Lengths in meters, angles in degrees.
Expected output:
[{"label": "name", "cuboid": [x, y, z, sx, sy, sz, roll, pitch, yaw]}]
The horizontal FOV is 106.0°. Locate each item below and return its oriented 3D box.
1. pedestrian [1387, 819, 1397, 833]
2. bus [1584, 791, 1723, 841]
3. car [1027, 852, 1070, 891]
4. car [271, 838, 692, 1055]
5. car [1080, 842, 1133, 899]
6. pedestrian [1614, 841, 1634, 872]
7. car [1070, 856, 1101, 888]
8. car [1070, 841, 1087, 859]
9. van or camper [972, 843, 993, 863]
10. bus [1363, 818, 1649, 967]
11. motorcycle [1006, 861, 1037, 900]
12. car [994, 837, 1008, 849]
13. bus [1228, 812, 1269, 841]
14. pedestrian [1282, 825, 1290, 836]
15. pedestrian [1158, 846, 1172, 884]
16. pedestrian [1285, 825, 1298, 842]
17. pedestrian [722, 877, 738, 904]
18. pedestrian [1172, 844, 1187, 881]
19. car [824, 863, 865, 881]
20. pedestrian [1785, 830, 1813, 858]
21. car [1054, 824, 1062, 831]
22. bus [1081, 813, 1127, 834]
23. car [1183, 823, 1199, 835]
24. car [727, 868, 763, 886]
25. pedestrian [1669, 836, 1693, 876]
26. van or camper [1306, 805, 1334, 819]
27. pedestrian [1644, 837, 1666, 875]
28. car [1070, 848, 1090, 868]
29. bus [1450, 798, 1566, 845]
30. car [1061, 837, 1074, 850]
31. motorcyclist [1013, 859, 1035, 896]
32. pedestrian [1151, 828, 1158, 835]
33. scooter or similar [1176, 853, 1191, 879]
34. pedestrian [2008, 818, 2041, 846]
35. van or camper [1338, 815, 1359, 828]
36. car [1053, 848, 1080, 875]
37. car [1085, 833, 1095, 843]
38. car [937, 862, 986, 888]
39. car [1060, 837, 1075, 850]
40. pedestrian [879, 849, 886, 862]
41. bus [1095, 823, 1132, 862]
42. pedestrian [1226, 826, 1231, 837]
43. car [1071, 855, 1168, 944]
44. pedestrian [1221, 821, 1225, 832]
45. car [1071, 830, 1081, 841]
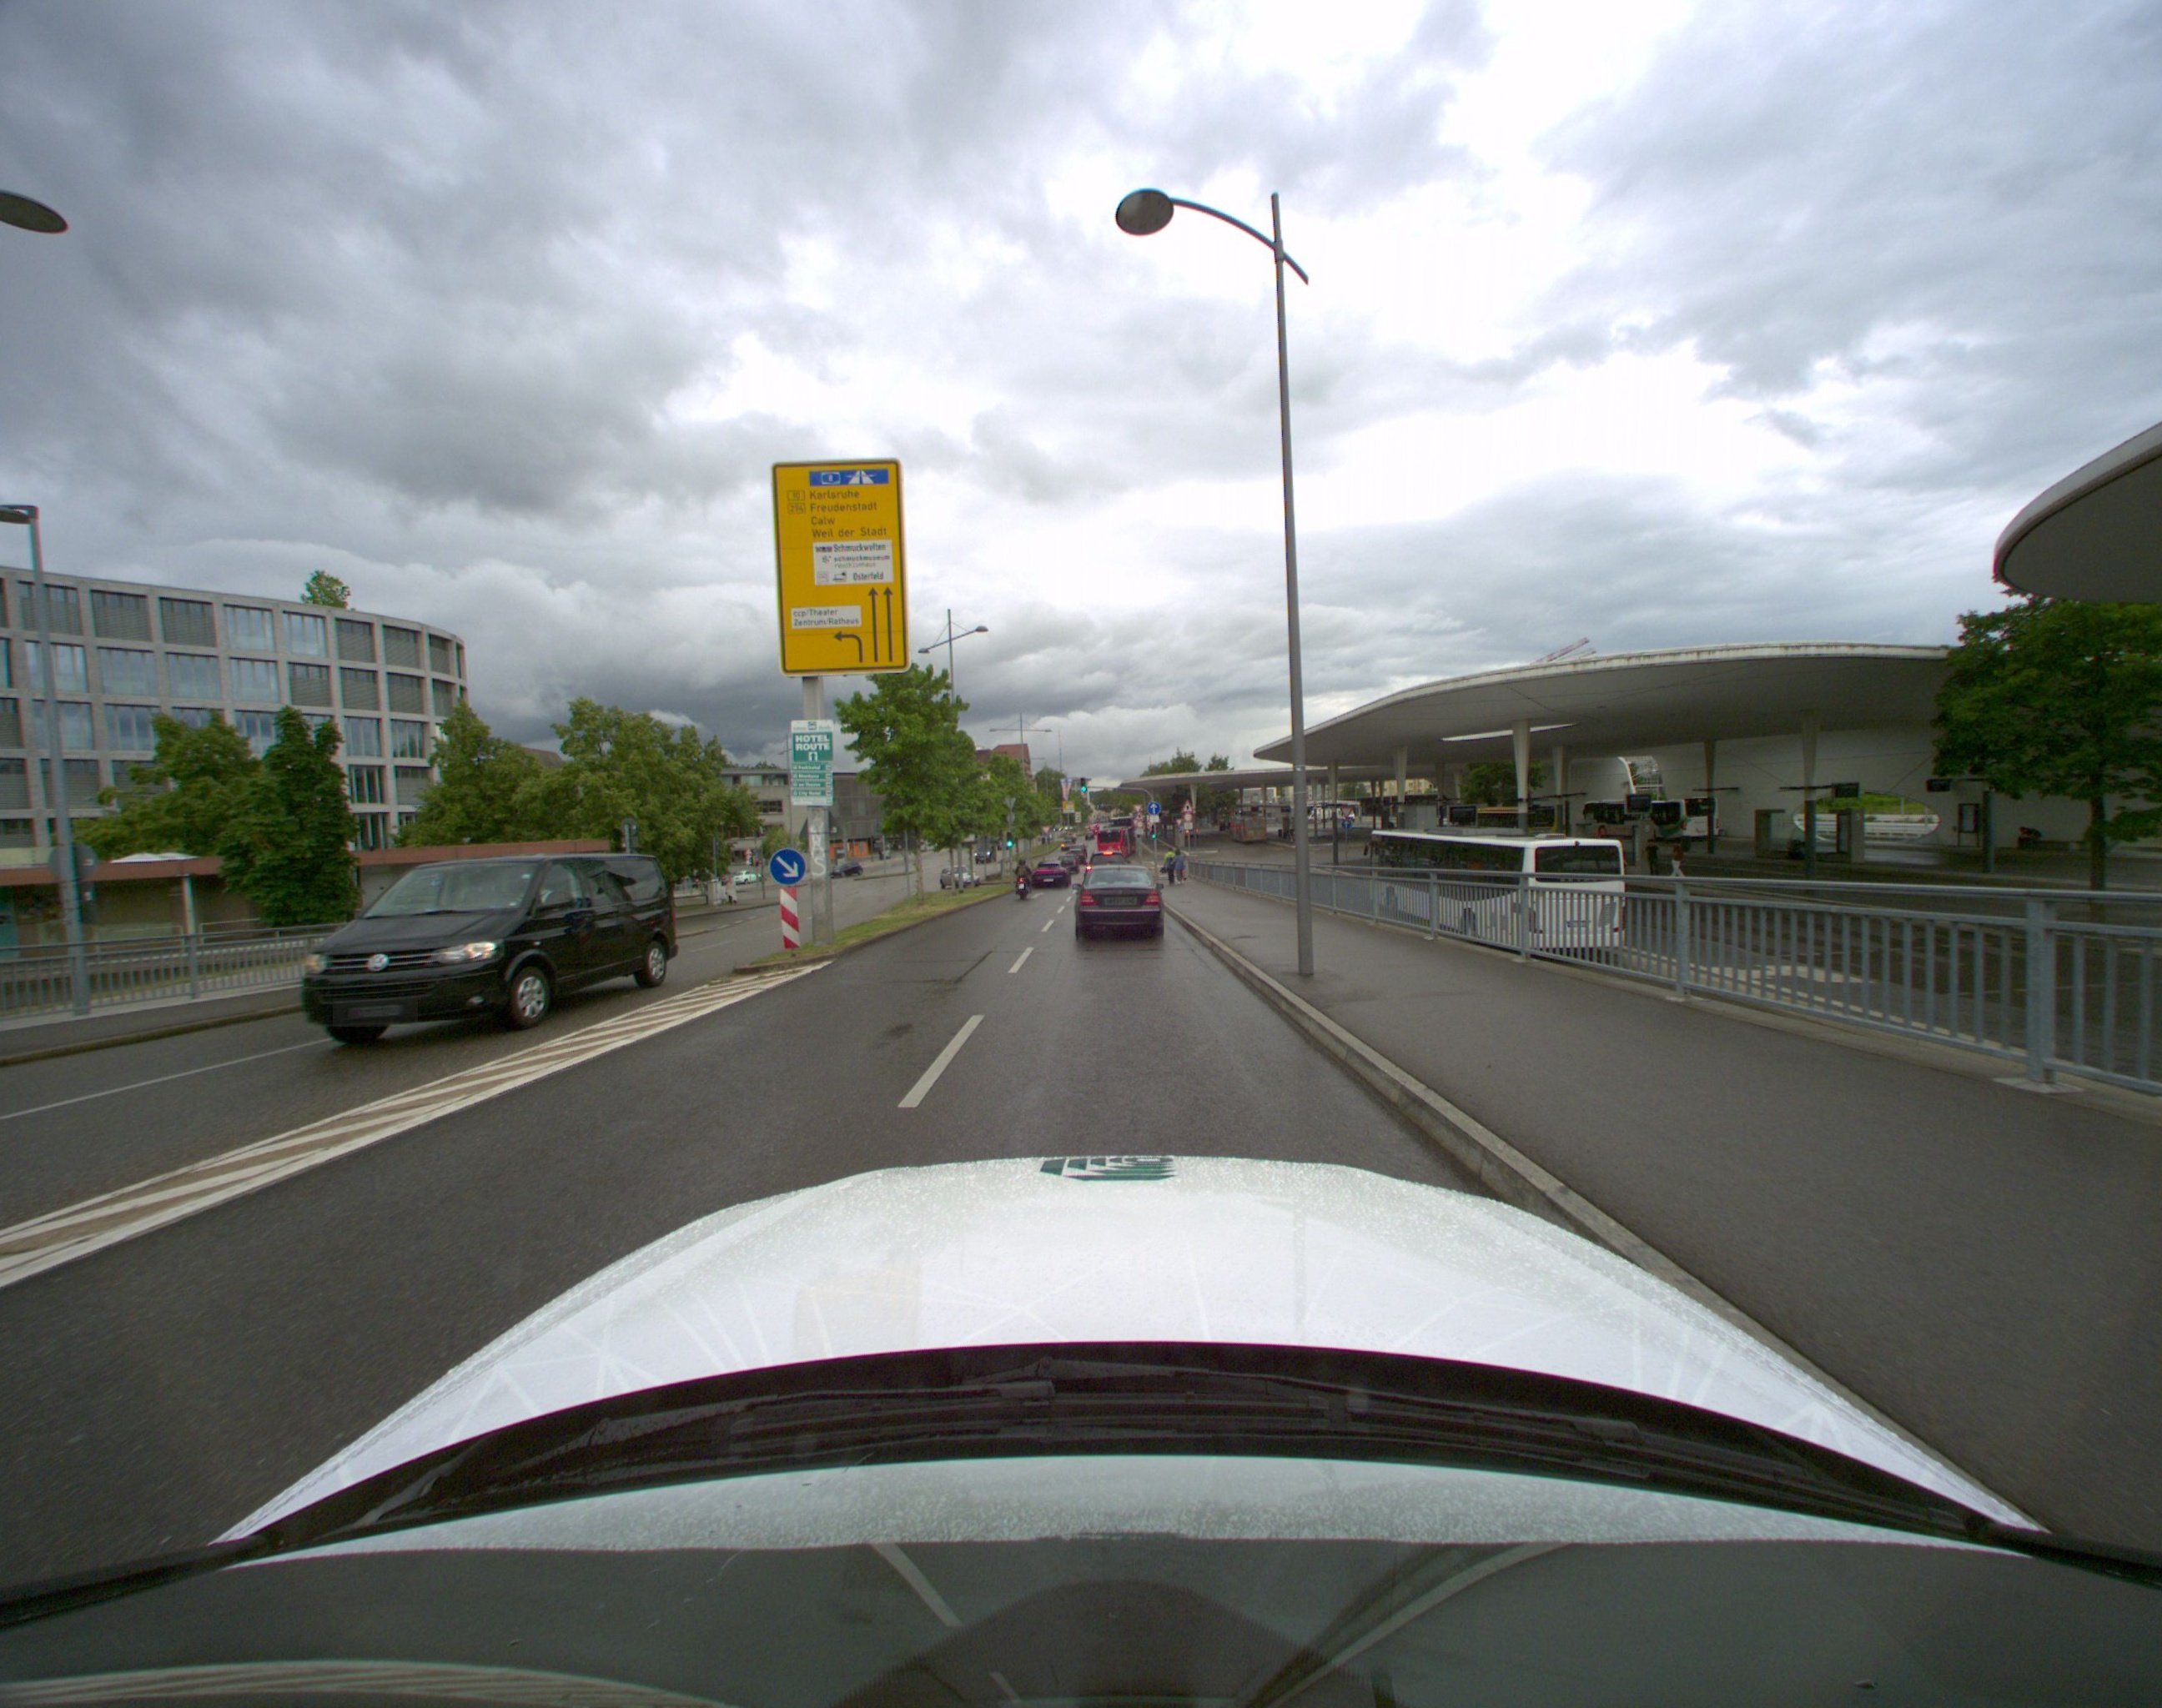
[{"label": "pedestrian", "cuboid": [37.176, -3.367, 97.283, 0.793, 1.586, 0.907, -2, 1, -5]}, {"label": "bus", "cuboid": [43.350, -3.019, 62.408, 2.457, 3.256, 11.979, -5, 3, 2]}, {"label": "car", "cuboid": [-1.694, 0.903, 43.706, 1.809, 1.570, 4.407, -6, 3, 2]}, {"label": "car", "cuboid": [-6.840, 0.907, 10.128, 1.841, 1.967, 4.680, -3, -1, -3]}, {"label": "car", "cuboid": [1.115, 0.629, 35.236, 1.950, 1.875, 4.877, -6, 3, 2]}, {"label": "pedestrian", "cuboid": [25.597, 0.133, 38.392, 0.566, 1.393, 0.558, -4, 2, 7]}, {"label": "car", "cuboid": [0.324, 1.122, 51.894, 1.734, 1.566, 3.874, -6, 3, 2]}, {"label": "car", "cuboid": [-0.250, -0.449, 89.246, 1.570, 1.566, 3.874, -6, 3, 2]}, {"label": "van or camper", "cuboid": [-11.670, -0.116, 96.334, 2.214, 2.072, 5.271, -5, 0, -7]}, {"label": "bus", "cuboid": [12.407, 0.669, 25.903, 2.834, 3.360, 12.434, 0, 4, 1]}, {"label": "motorcycle", "cuboid": [-2.272, 1.004, 31.564, 0.789, 1.261, 1.858, -5, 3, 5]}, {"label": "car", "cuboid": [-13.310, -1.789, 135.585, 1.903, 1.661, 4.856, -3, 4, -2]}, {"label": "bus", "cuboid": [20.002, -3.387, 97.995, 2.711, 3.042, 12.097, -4, 3, 2]}, {"label": "pedestrian", "cuboid": [24.517, -2.809, 97.326, 0.786, 1.226, 0.637, -3, 3, 19]}, {"label": "pedestrian", "cuboid": [3.829, 0.500, 37.158, 0.520, 1.670, 0.580, -2, 0, 1]}, {"label": "pedestrian", "cuboid": [22.131, -2.111, 85.543, 0.721, 1.683, 1.013, -6, 3, -24]}, {"label": "pedestrian", "cuboid": [-21.143, 2.191, 49.080, 0.652, 1.570, 0.628, -5, 0, -14]}, {"label": "pedestrian", "cuboid": [4.470, 0.407, 37.084, 0.587, 1.670, 0.580, -1, -2, 1]}, {"label": "car", "cuboid": [-25.138, 1.897, 86.549, 3.690, 1.438, 1.810, -8, 4, -36]}, {"label": "pedestrian", "cuboid": [35.296, -0.489, 40.060, 0.705, 1.325, 0.803, 0, -1, 9]}, {"label": "car", "cuboid": [-6.193, -7.272, 220.971, 1.773, 1.566, 3.432, -6, 3, 2]}, {"label": "bus", "cuboid": [4.829, -6.529, 175.188, 2.861, 3.986, 11.729, -6, 3, -37]}, {"label": "car", "cuboid": [16.568, -3.791, 122.860, 1.706, 1.661, 4.241, -3, 3, 1]}, {"label": "car", "cuboid": [-37.183, 2.529, 90.148, 1.615, 1.495, 3.599, -3, 3, 17]}, {"label": "pedestrian", "cuboid": [25.598, 0.074, 34.720, 0.646, 1.654, 0.632, -6, 3, -38]}, {"label": "van or camper", "cuboid": [43.810, -7.702, 149.236, 4.592, 2.557, 2.119, -1, 1, 0]}, {"label": "pedestrian", "cuboid": [25.770, 0.093, 36.574, 0.566, 1.654, 0.558, -4, 2, 7]}, {"label": "car", "cuboid": [-0.090, 0.372, 78.256, 1.569, 1.504, 3.875, -6, 3, 3]}, {"label": "bus", "cuboid": [33.618, -2.678, 64.957, 2.779, 3.256, 12.143, -3, 3, 0]}, {"label": "car", "cuboid": [-2.171, -1.662, 131.481, 1.791, 1.907, 3.641, 0, -1, 2]}, {"label": "motorcyclist", "cuboid": [-2.203, 0.901, 31.725, 0.638, 1.347, 0.690, -4, 3, 5]}, {"label": "pedestrian", "cuboid": [12.093, -3.697, 133.722, 0.906, 0.985, 0.636, -2, -1, 15]}, {"label": "scooter or similar", "cuboid": [5.071, 0.599, 40.308, 0.462, 1.221, 1.860, -4, -1, 1]}, {"label": "pedestrian", "cuboid": [46.253, -1.064, 39.931, 0.706, 1.325, 0.802, 0, -1, 5]}, {"label": "van or camper", "cuboid": [47.014, -5.753, 142.976, 1.986, 2.103, 5.482, -1, 1, 1]}, {"label": "car", "cuboid": [-1.090, 0.513, 61.441, 1.670, 1.622, 3.874, -6, 3, 2]}, {"label": "car", "cuboid": [1.616, -2.825, 145.650, 1.859, 1.684, 4.001, 0, 0, 1]}, {"label": "car", "cuboid": [-7.762, 1.347, 52.567, 1.643, 1.448, 3.837, -6, 2, -32]}, {"label": "car", "cuboid": [-1.822, -1.463, 112.459, 1.859, 1.684, 4.001, 0, 0, 1]}, {"label": "pedestrian", "cuboid": [-27.671, 0.171, 113.473, 0.471, 1.683, 0.765, -4, 2, 8]}, {"label": "bus", "cuboid": [3.352, -1.276, 82.550, 3.273, 3.290, 10.888, -4, 3, 3]}, {"label": "pedestrian", "cuboid": [22.500, -3.473, 124.131, 0.559, 1.691, 0.613, -3, 3, -5]}, {"label": "car", "cuboid": [0.747, 0.822, 16.763, 1.691, 1.462, 4.305, -2, 1, 1]}, {"label": "pedestrian", "cuboid": [23.350, -4.567, 133.914, 0.573, 1.716, 0.565, -1, -1, 37]}, {"label": "car", "cuboid": [-0.891, -3.376, 146.383, 1.635, 1.804, 3.641, 0, -1, 2]}]
